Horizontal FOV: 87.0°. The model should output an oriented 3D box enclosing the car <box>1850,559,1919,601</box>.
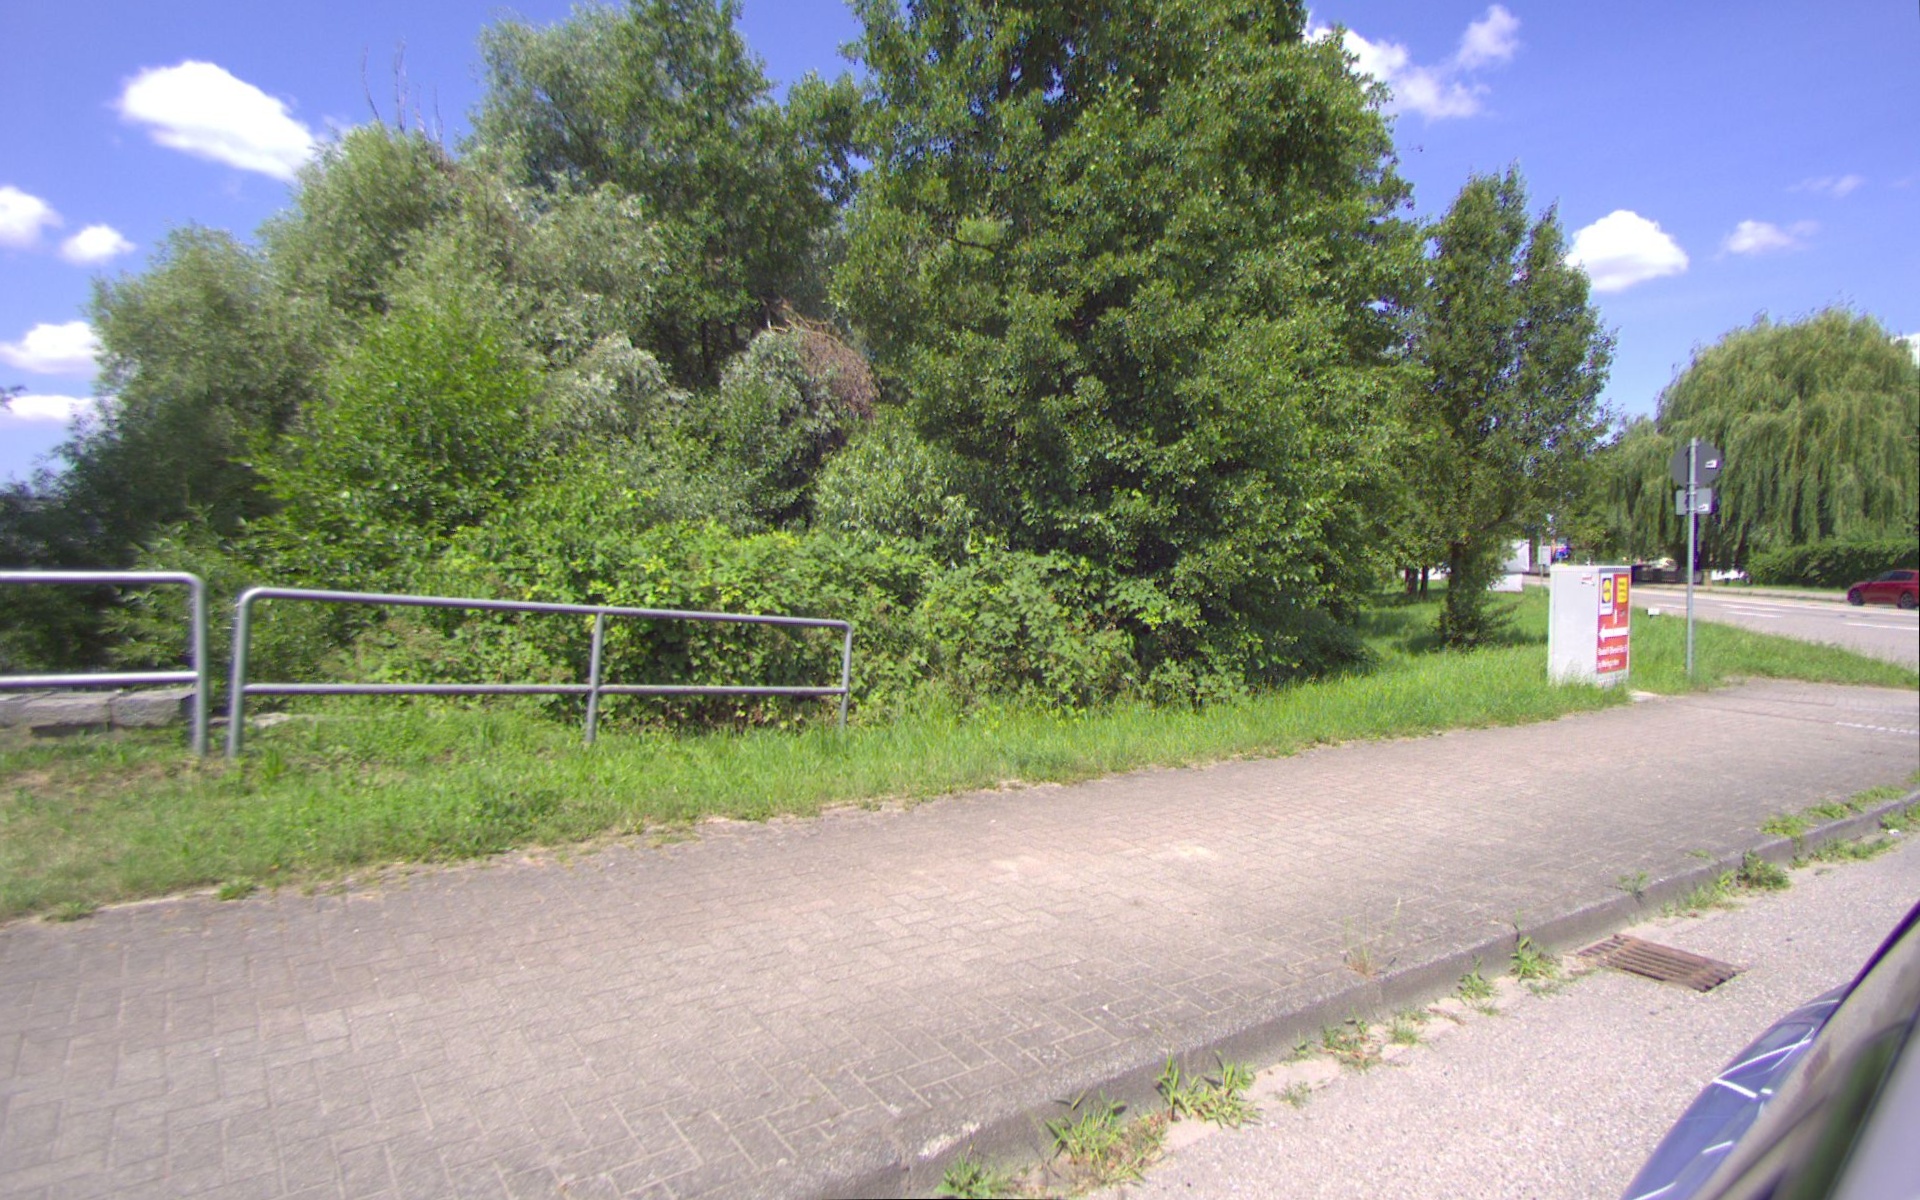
[{"bbox_3d":[35.071,-0.733,36.957,1.857,1.482,4.373,1,2,11],"label":"car"}]
